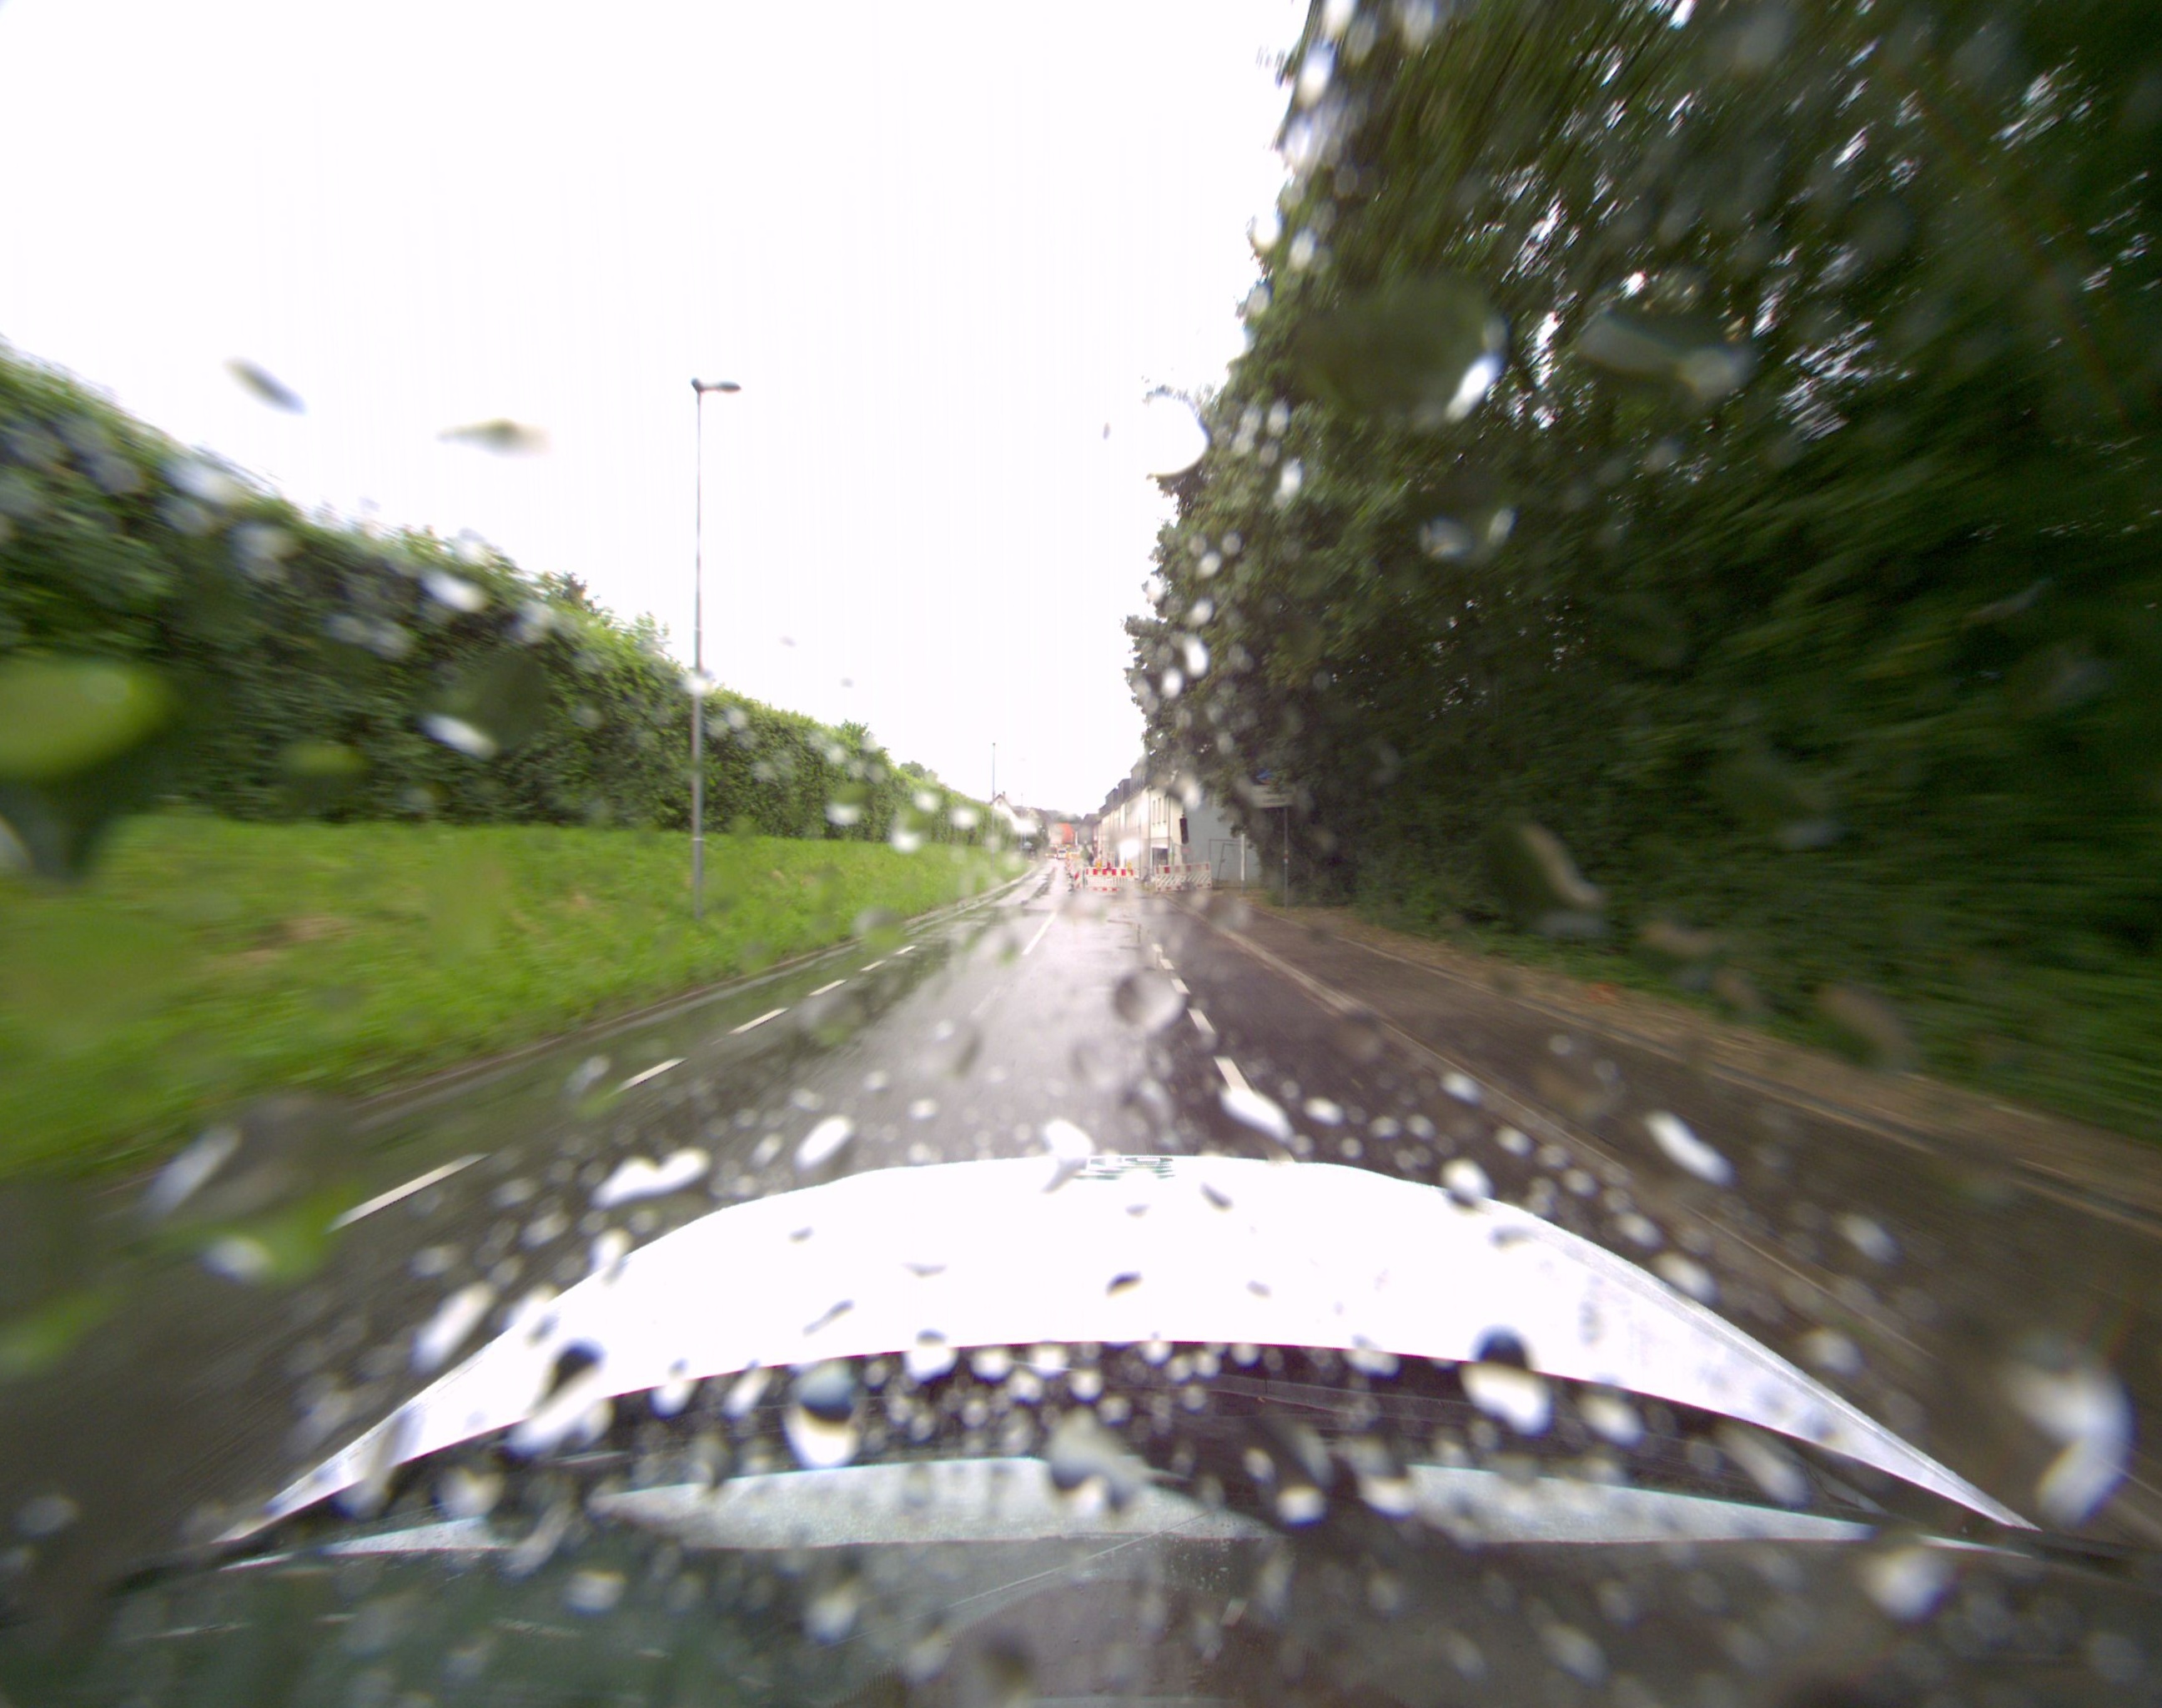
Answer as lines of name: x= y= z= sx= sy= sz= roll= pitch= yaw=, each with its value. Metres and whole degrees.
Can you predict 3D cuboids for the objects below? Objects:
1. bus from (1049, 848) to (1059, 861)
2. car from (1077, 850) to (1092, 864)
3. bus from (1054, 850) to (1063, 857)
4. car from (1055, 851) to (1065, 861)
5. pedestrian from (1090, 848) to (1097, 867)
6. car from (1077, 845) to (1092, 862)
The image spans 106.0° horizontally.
bus: x=-6.449 y=0.101 z=197.237 sx=2.236 sy=3.103 sz=7.025 roll=-2 pitch=0 yaw=-2
car: x=0.448 y=0.349 z=108.943 sx=1.898 sy=1.772 sz=3.886 roll=-3 pitch=0 yaw=0
bus: x=-5.005 y=-0.082 z=182.051 sx=1.788 sy=1.409 sz=4.000 roll=2 pitch=0 yaw=1
car: x=-4.086 y=0.363 z=160.534 sx=1.813 sy=1.641 sz=4.093 roll=-5 pitch=0 yaw=-2
pedestrian: x=1.196 y=0.346 z=77.553 sx=0.664 sy=1.755 sz=0.811 roll=0 pitch=0 yaw=-2
car: x=0.515 y=-0.066 z=126.113 sx=1.988 sy=2.375 sz=4.093 roll=-4 pitch=0 yaw=-2
